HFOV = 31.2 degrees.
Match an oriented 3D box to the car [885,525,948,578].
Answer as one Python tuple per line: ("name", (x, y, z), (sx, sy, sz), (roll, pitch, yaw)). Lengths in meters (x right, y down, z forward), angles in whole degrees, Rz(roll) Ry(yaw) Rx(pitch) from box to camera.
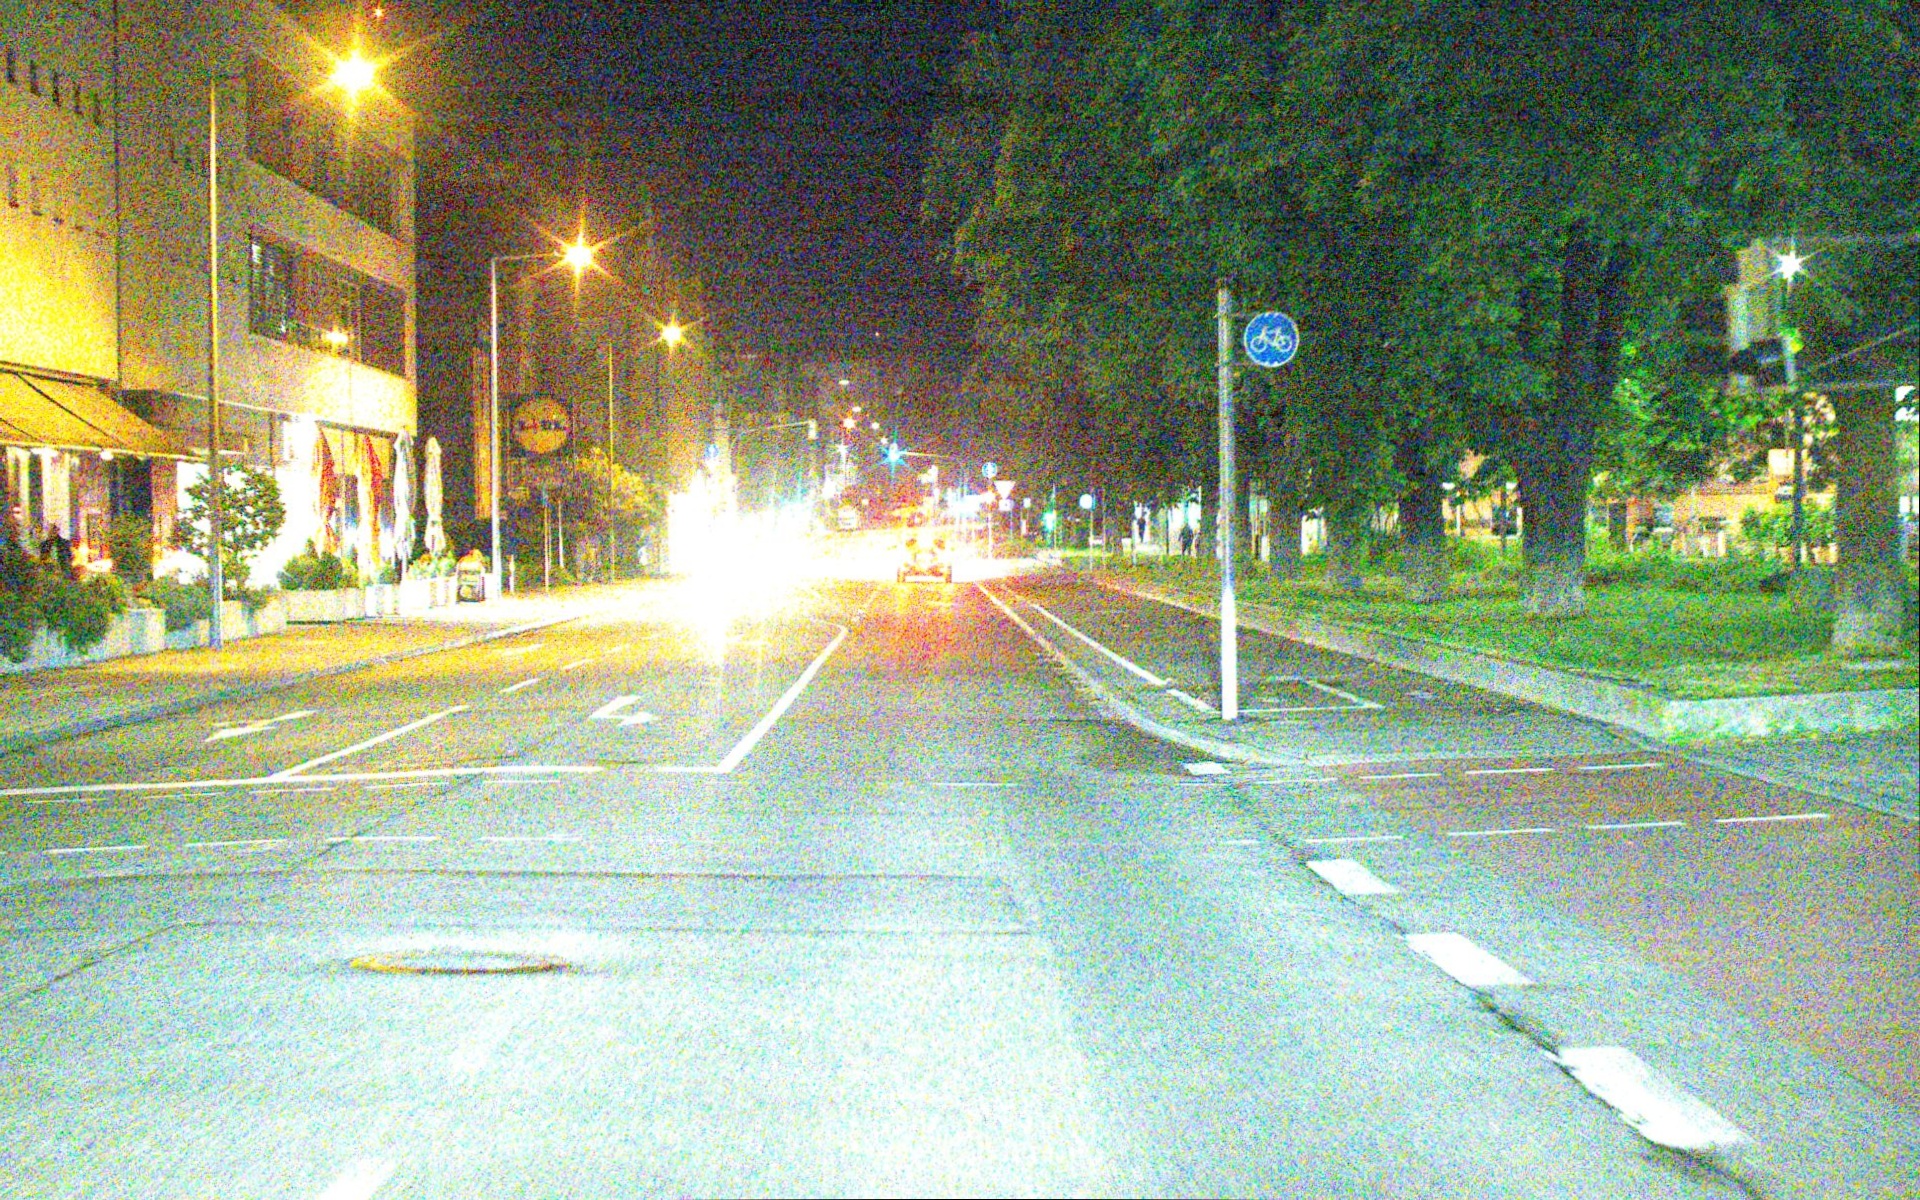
("car", (-1.435, -1.616, 113.661), (1.993, 1.637, 4.000), (-2, 1, -1))

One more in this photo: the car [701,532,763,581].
("car", (-8.000, -1.548, 121.023), (1.993, 1.637, 4.000), (-2, 1, -2))
